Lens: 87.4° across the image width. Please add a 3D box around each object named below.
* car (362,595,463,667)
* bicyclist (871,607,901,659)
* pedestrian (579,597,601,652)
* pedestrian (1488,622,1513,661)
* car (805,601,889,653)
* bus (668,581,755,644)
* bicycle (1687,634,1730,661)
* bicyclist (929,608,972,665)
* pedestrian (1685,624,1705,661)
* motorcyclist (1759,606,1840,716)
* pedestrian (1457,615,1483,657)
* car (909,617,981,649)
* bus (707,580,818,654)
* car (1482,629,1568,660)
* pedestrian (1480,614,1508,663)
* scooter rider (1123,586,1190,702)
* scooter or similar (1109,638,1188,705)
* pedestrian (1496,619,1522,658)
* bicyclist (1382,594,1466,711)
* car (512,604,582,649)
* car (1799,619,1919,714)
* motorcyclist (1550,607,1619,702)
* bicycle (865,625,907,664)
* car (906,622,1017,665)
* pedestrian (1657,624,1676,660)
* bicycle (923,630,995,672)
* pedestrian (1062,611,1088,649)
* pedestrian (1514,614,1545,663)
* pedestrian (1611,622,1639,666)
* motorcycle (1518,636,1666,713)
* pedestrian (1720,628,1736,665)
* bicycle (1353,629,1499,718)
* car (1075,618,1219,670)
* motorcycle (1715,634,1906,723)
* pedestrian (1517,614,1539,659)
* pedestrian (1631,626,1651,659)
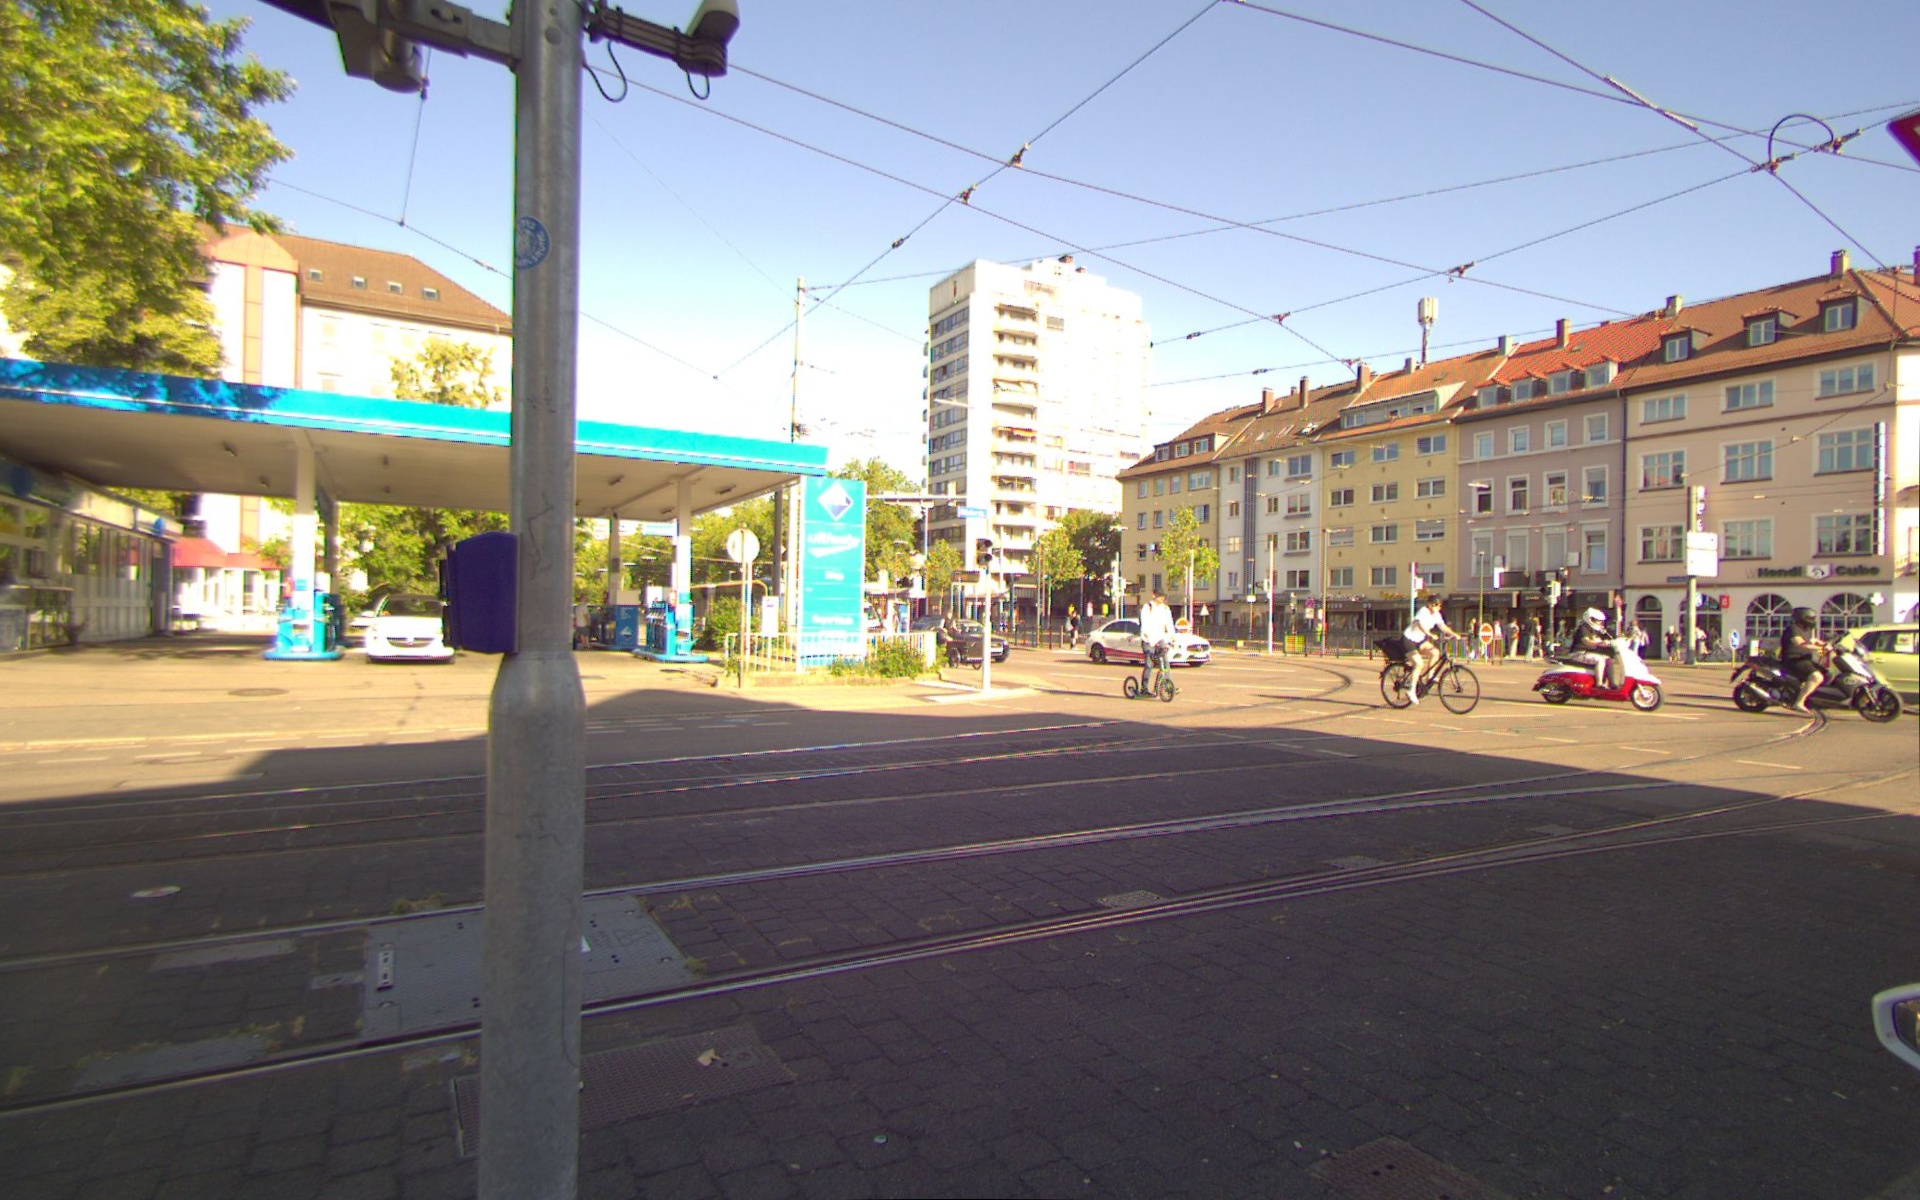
[{"bbox_3d":[-12.357,0.665,22.556,1.793,1.461,3.966,1,-1,-31],"label":"car"},{"bbox_3d":[-2.536,1.123,34.361,0.725,1.737,0.794,1,-2,-31],"label":"bicyclist"},{"bbox_3d":[-11.797,0.785,32.029,0.579,1.715,0.756,1,-1,-25],"label":"pedestrian"},{"bbox_3d":[22.279,1.704,41.398,0.553,1.602,0.695,1,-1,-30],"label":"pedestrian"},{"bbox_3d":[-5.747,1.298,50.490,2.059,2.465,5.079,0,0,-34],"label":"car"},{"bbox_3d":[-15.085,0.629,60.402,2.755,3.504,8.571,0,1,-30],"label":"bus"},{"bbox_3d":[37.808,2.374,50.764,1.693,1.293,0.385,0,-1,44],"label":"bicycle"},{"bbox_3d":[-0.284,1.063,29.904,0.923,1.659,1.021,1,-1,-28],"label":"bicyclist"},{"bbox_3d":[34.416,1.980,47.062,0.731,1.704,0.626,0,-1,35],"label":"pedestrian"},{"bbox_3d":[13.149,0.927,15.729,0.810,1.642,0.824,2,0,-41],"label":"motorcyclist"},{"bbox_3d":[20.353,1.431,40.073,0.565,1.657,0.737,1,-1,-30],"label":"pedestrian"},{"bbox_3d":[-0.774,1.530,47.869,1.697,1.439,4.149,1,-1,-28],"label":"car"},{"bbox_3d":[-10.540,0.751,52.656,2.748,3.504,9.364,0,1,-31],"label":"bus"},{"bbox_3d":[30.744,2.401,54.777,1.795,1.511,3.715,2,0,-27],"label":"car"},{"bbox_3d":[20.760,1.499,39.053,0.769,1.874,0.625,1,-1,-30],"label":"pedestrian"},{"bbox_3d":[3.376,0.737,17.282,0.788,1.937,0.791,1,0,-30],"label":"scooter rider"},{"bbox_3d":[3.250,1.215,17.402,0.558,1.057,1.424,1,-1,-30],"label":"scooter or similar"},{"bbox_3d":[24.132,1.682,44.164,0.621,1.704,0.763,1,-1,-30],"label":"pedestrian"},{"bbox_3d":[7.127,0.787,15.433,0.727,1.735,0.932,1,-1,-37],"label":"bicyclist"},{"bbox_3d":[-13.577,0.851,32.877,1.697,1.360,3.970,1,-1,-28],"label":"car"},{"bbox_3d":[16.425,1.098,16.394,1.725,1.518,3.927,1,-1,-36],"label":"car"},{"bbox_3d":[10.317,0.880,16.597,0.654,1.527,0.807,1,-1,-41],"label":"motorcyclist"},{"bbox_3d":[-2.542,1.524,34.384,0.616,1.316,1.931,1,-2,-31],"label":"bicycle"},{"bbox_3d":[-0.007,1.445,34.389,1.630,1.399,4.241,1,-2,-36],"label":"car"},{"bbox_3d":[33.902,2.027,48.177,0.731,1.704,0.626,0,-1,35],"label":"pedestrian"},{"bbox_3d":[-0.050,1.481,29.462,1.047,1.116,2.500,1,-1,-29],"label":"bicycle"},{"bbox_3d":[4.998,1.307,43.699,0.788,1.632,0.766,1,-1,-36],"label":"pedestrian"},{"bbox_3d":[21.916,1.488,38.663,0.714,1.853,0.763,1,-1,-30],"label":"pedestrian"},{"bbox_3d":[26.466,1.735,39.972,0.621,1.704,0.737,1,-1,-30],"label":"pedestrian"},{"bbox_3d":[10.346,1.187,16.518,0.500,1.133,2.008,1,-1,-40],"label":"motorcycle"},{"bbox_3d":[26.857,1.629,35.110,0.447,1.270,0.361,1,-1,-41],"label":"pedestrian"},{"bbox_3d":[7.106,1.079,15.403,0.736,1.239,1.909,1,-1,-37],"label":"bicycle"},{"bbox_3d":[5.710,1.302,31.196,1.723,1.492,4.644,1,-1,-33],"label":"car"},{"bbox_3d":[13.157,1.170,15.610,0.689,1.244,2.186,1,-1,-40],"label":"motorcycle"},{"bbox_3d":[22.619,1.448,40.009,0.553,1.810,0.557,1,-1,-30],"label":"pedestrian"},{"bbox_3d":[36.230,2.245,53.440,0.623,1.704,0.734,1,-1,-41],"label":"pedestrian"}]
